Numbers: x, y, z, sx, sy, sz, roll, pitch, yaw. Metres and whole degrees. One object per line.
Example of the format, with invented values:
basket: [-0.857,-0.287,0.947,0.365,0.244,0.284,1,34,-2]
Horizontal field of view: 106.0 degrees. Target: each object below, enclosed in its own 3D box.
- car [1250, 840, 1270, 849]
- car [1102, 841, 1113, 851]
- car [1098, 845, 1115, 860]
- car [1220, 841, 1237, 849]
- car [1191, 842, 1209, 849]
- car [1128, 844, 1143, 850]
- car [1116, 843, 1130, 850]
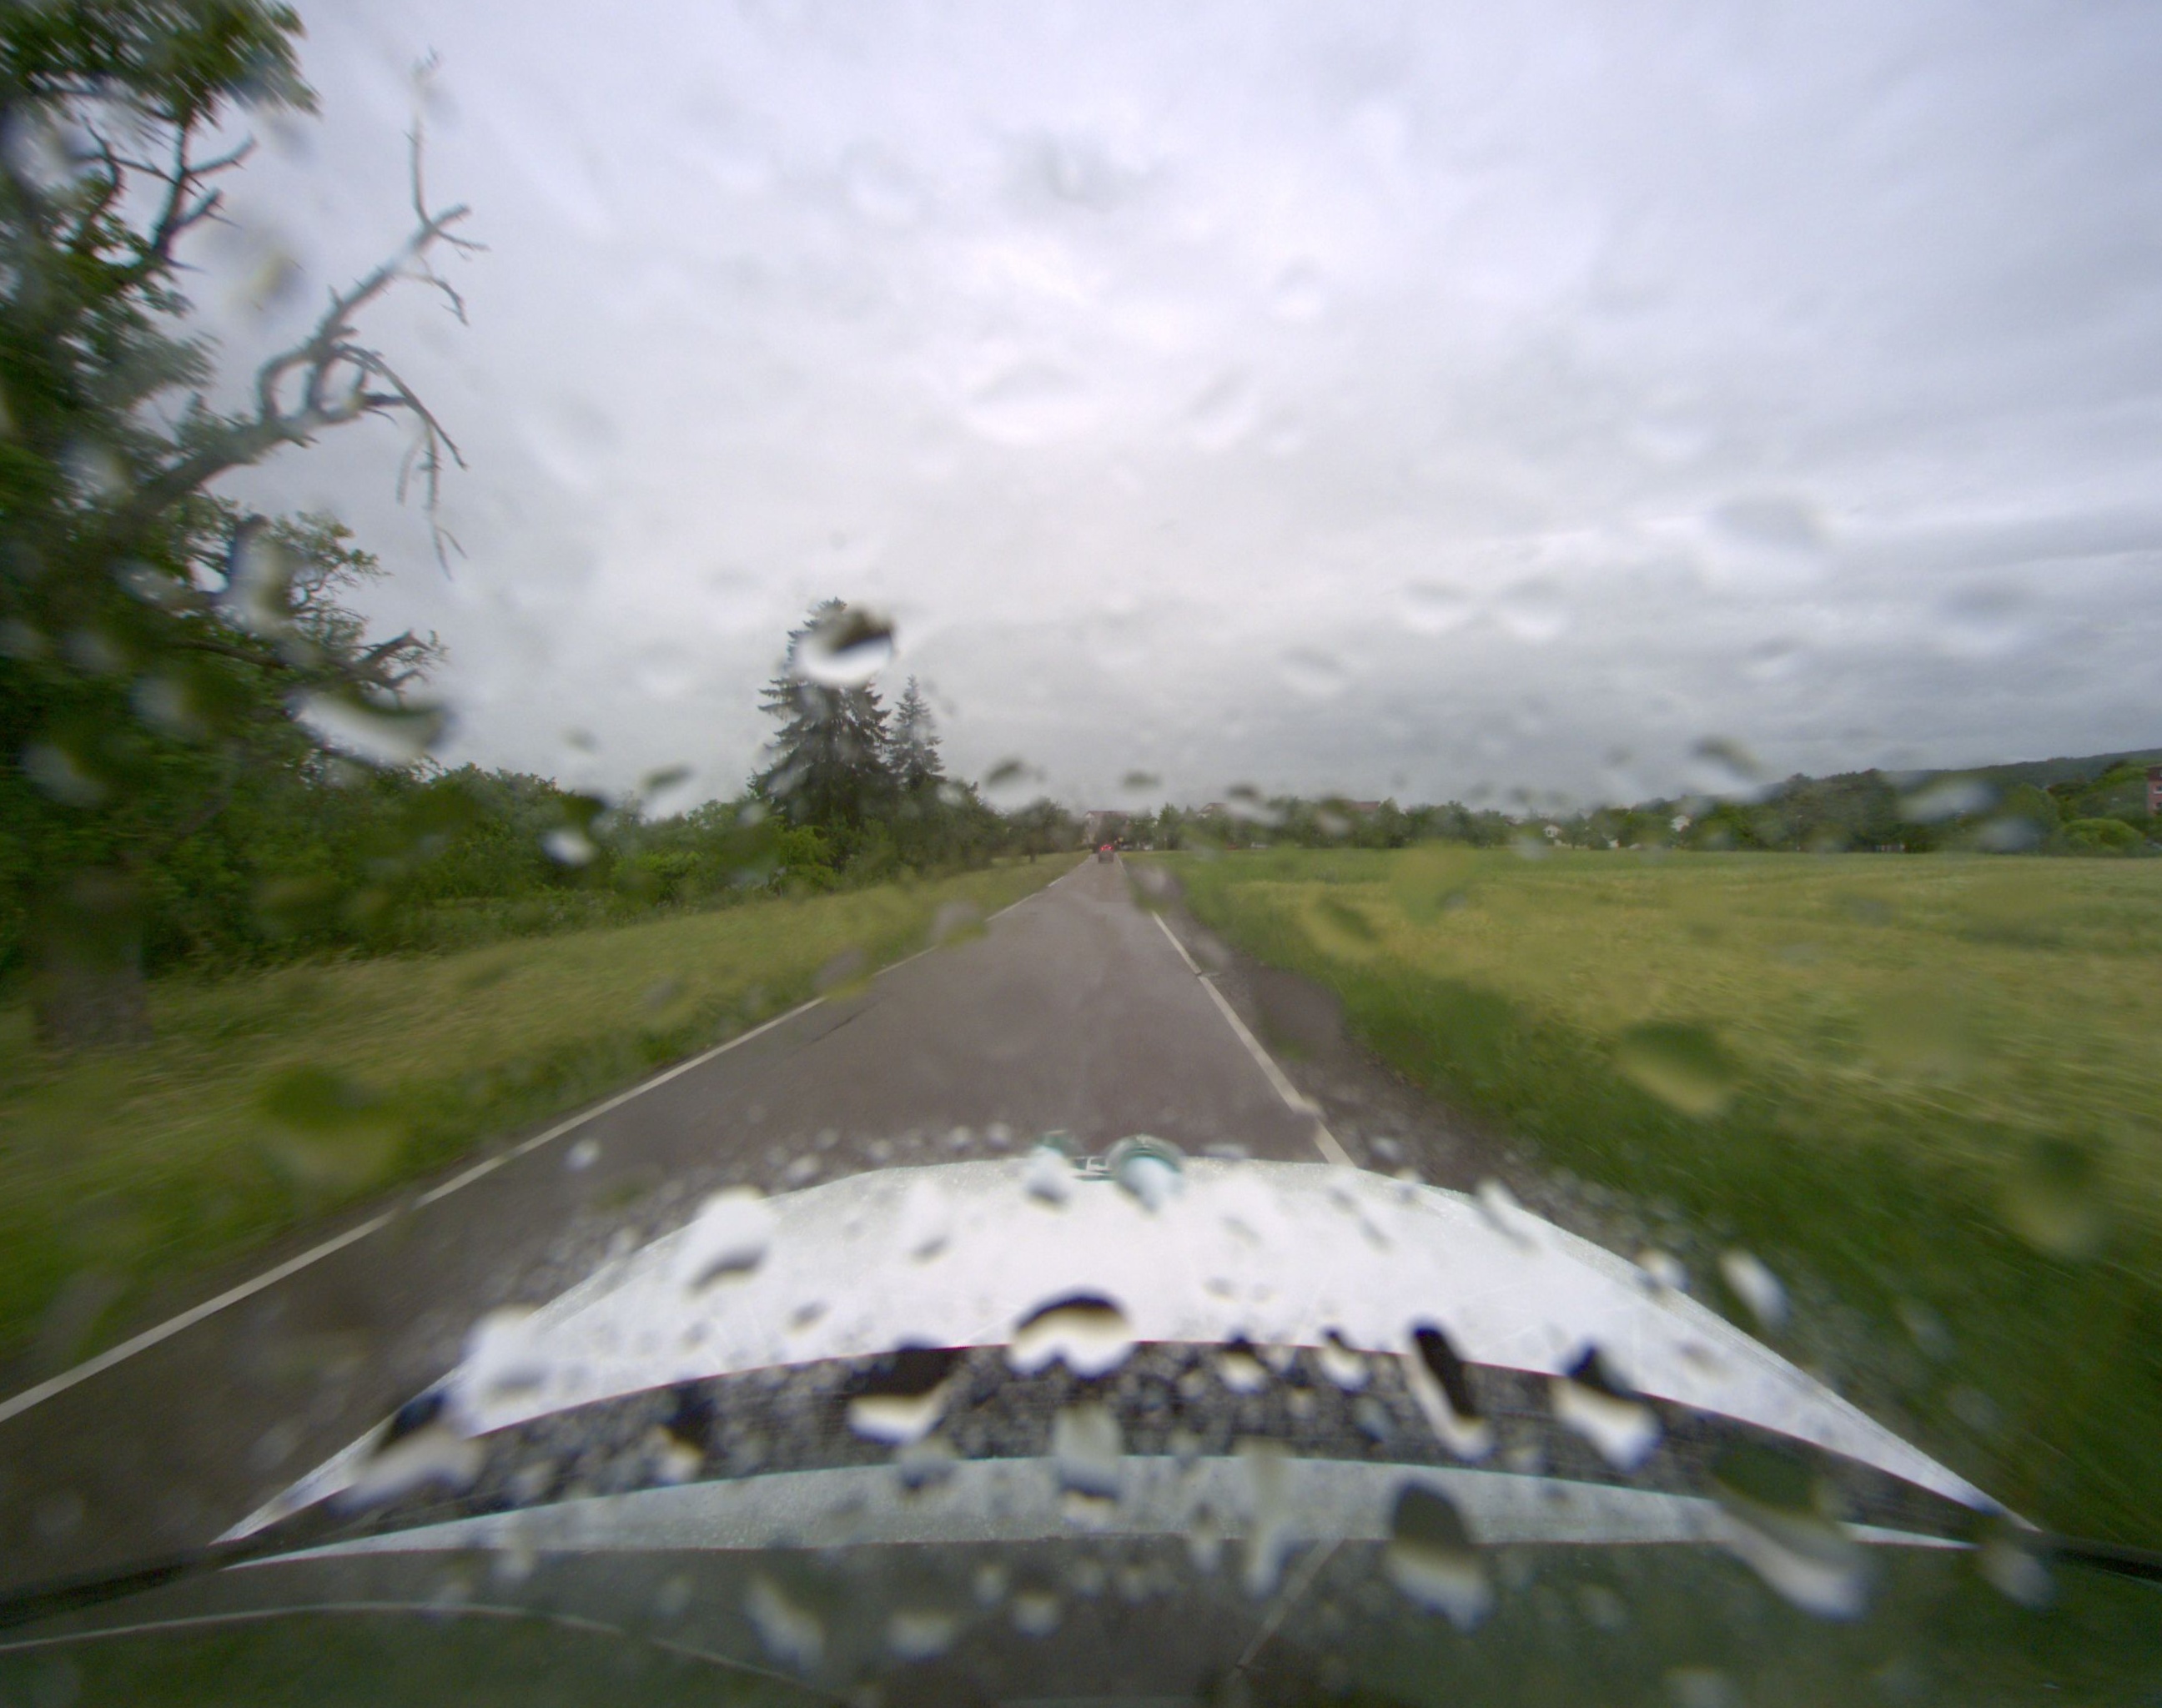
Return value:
car: [35.457,-1.853,160.985,3.682,1.564,1.617,-2,-1,15]
car: [4.904,-1.462,151.465,1.807,1.594,4.003,-2,-1,3]
car: [2.890,-0.113,92.777,1.807,1.594,4.003,-2,-1,3]
car: [29.504,-1.762,162.717,3.169,1.370,1.578,-2,-1,15]
car: [23.956,-1.693,164.094,3.365,1.370,1.554,-2,-1,15]
car: [13.187,-1.724,198.552,1.644,1.546,4.025,-2,-1,37]
car: [9.975,-1.731,193.367,1.645,1.546,4.024,-2,-1,27]
